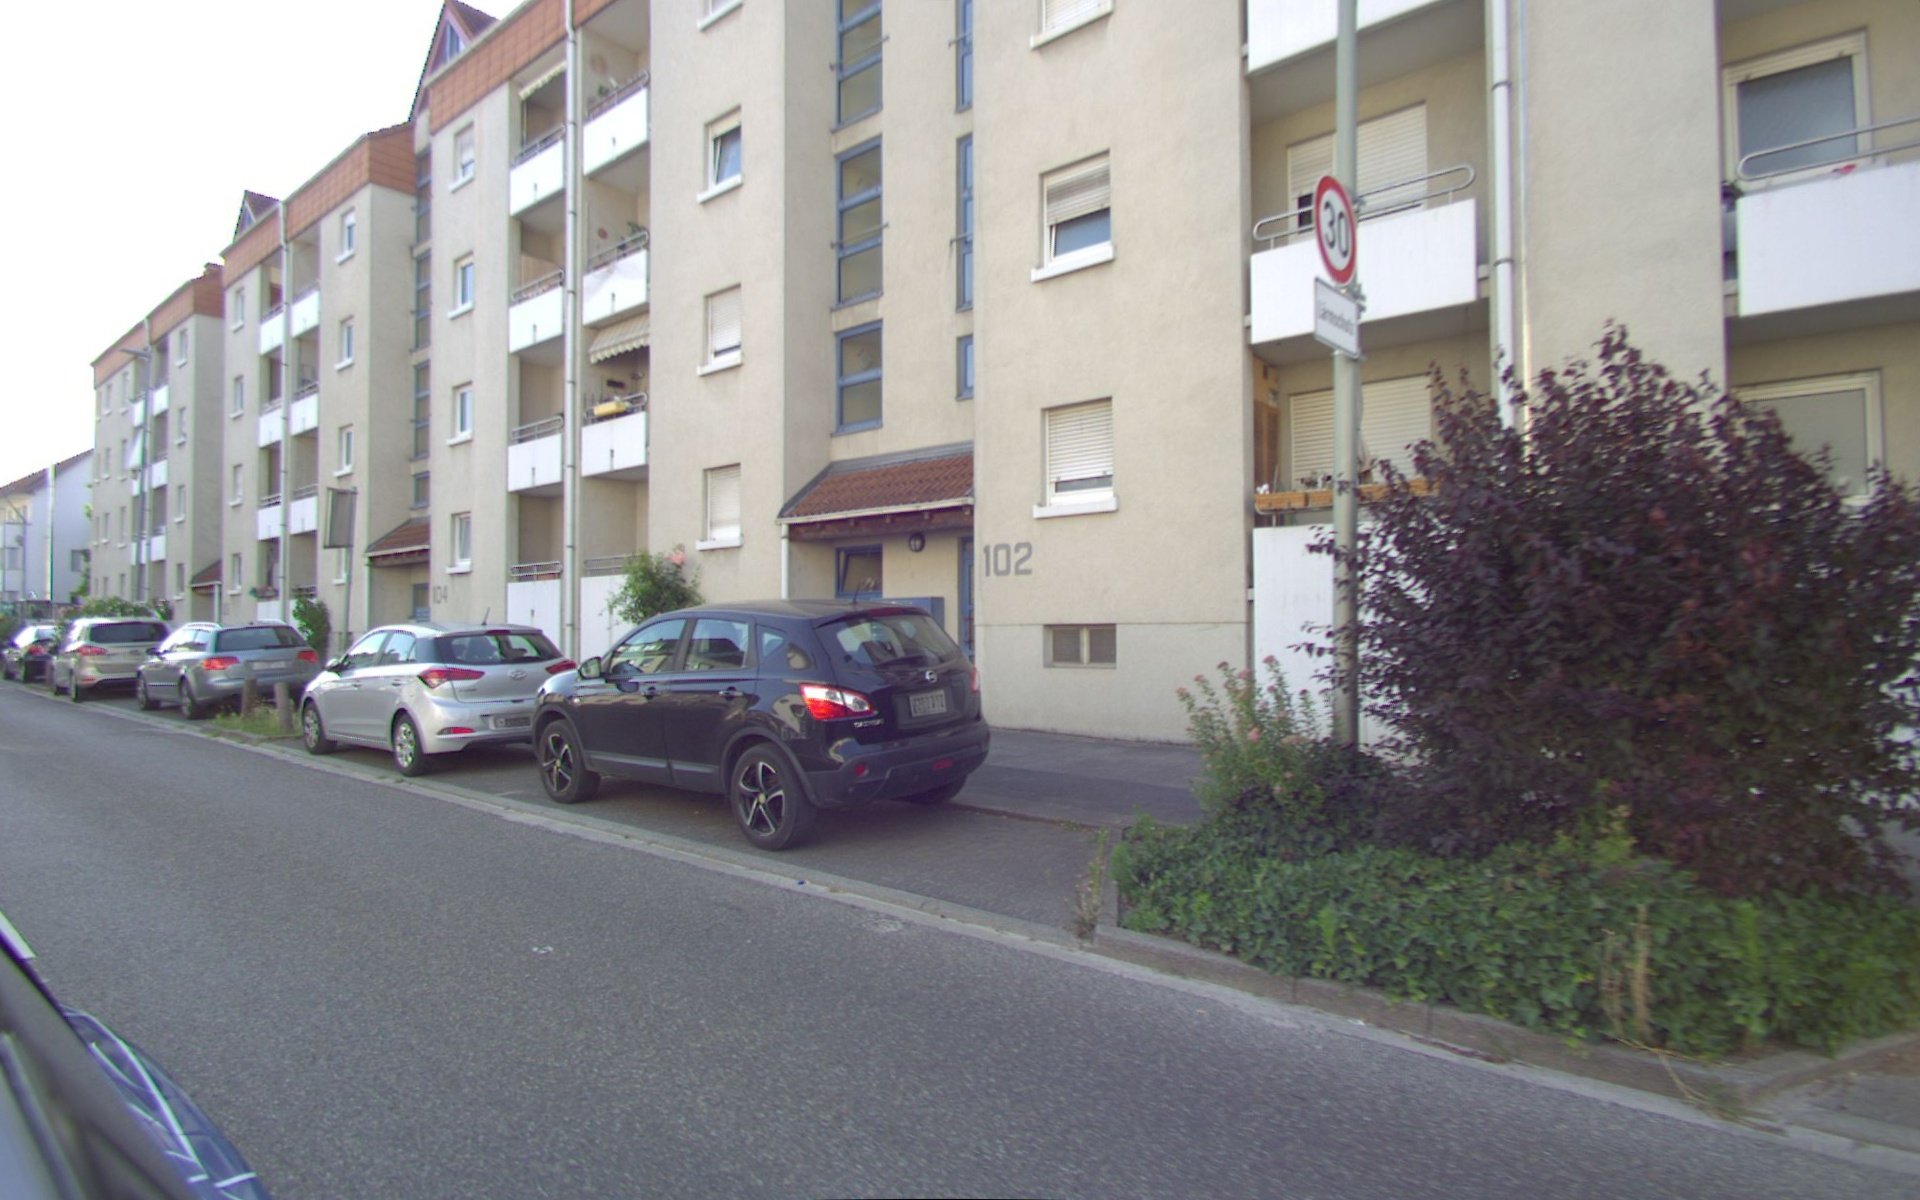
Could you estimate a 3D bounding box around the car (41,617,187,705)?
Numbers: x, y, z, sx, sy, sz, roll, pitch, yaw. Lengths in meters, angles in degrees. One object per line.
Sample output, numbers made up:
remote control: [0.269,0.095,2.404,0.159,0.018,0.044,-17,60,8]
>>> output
car: [-17.203,1.165,20.518,3.964,1.567,1.708,-1,-1,42]

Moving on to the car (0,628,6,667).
car: [-37.306,1.789,38.016,3.666,1.406,1.624,-1,-1,38]

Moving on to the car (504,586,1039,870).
car: [-1.657,0.773,7.821,4.366,1.615,1.669,-1,-1,40]

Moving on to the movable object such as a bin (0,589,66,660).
movable object such as a bin: [-43.321,1.183,47.284,3.895,3.162,1.632,-2,-3,38]

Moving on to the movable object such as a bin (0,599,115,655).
movable object such as a bin: [-50.138,1.455,55.527,2.102,2.923,5.463,-2,-1,27]

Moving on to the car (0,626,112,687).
car: [-23.415,1.403,26.072,4.079,1.416,1.669,-2,-1,39]

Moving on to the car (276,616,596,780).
car: [-5.871,0.942,11.128,4.137,1.465,1.669,-2,-1,40]

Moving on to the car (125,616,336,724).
car: [-12.117,1.068,16.706,4.366,1.532,1.789,-2,-1,40]
